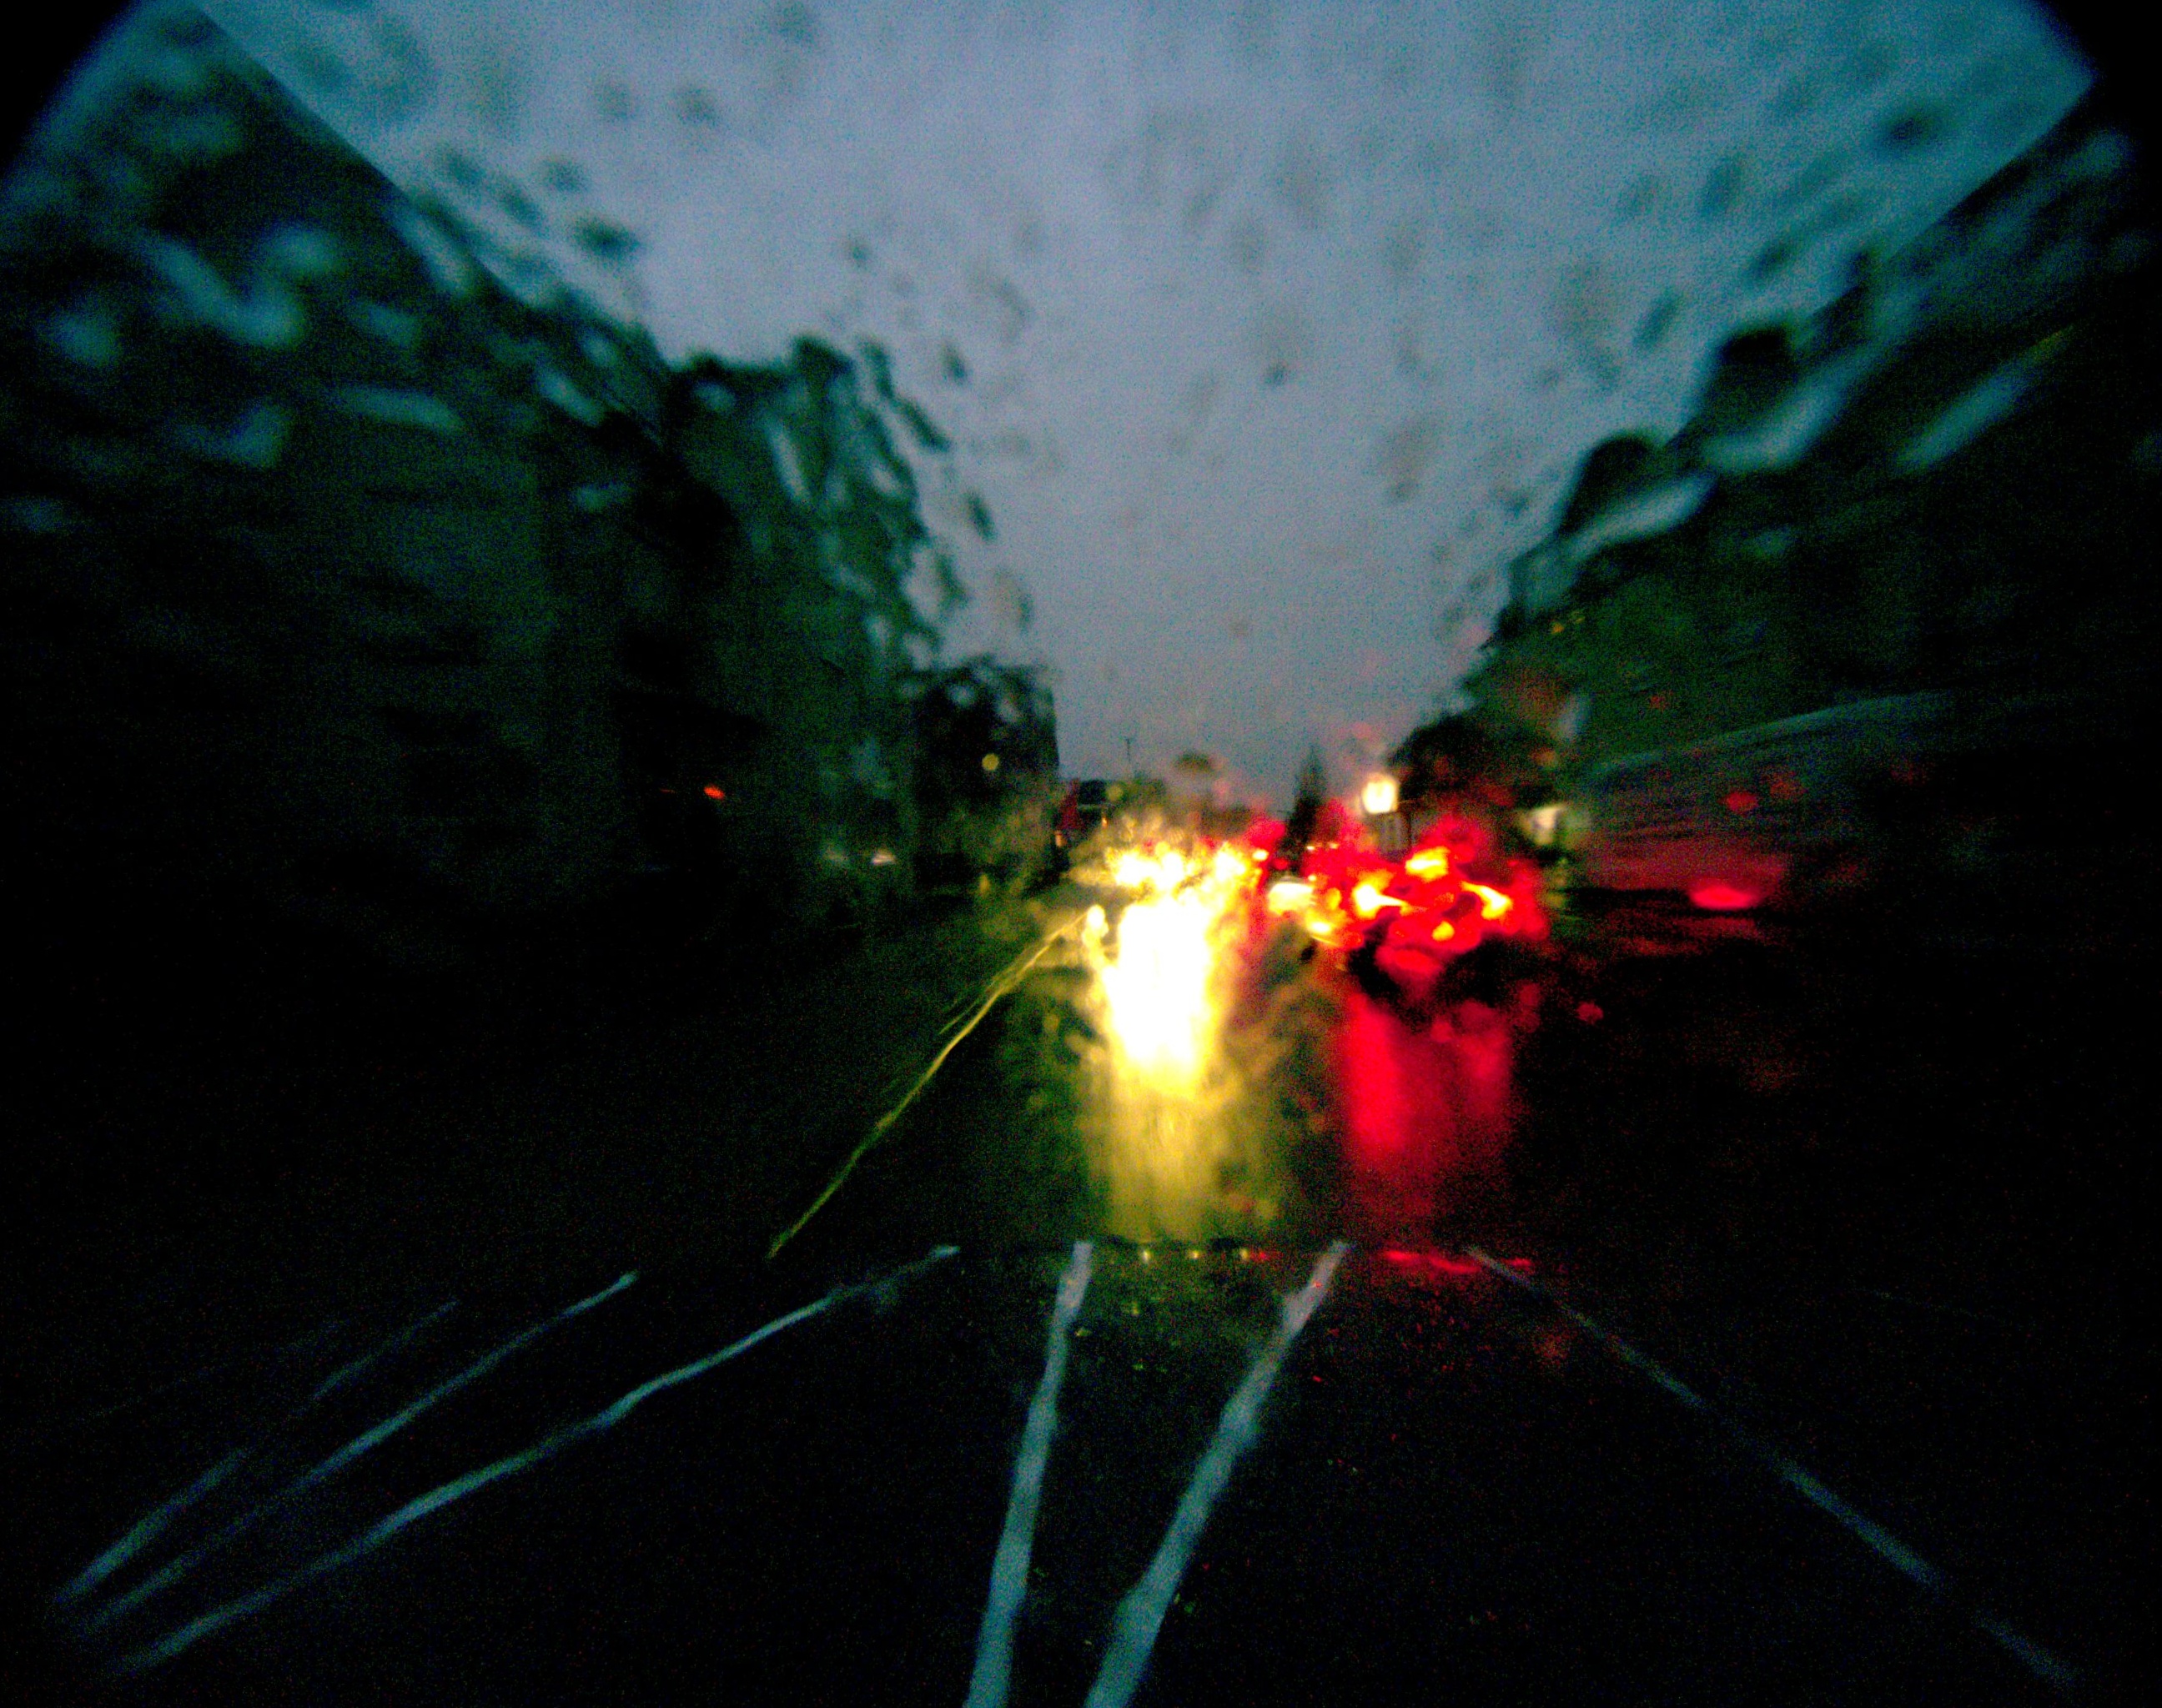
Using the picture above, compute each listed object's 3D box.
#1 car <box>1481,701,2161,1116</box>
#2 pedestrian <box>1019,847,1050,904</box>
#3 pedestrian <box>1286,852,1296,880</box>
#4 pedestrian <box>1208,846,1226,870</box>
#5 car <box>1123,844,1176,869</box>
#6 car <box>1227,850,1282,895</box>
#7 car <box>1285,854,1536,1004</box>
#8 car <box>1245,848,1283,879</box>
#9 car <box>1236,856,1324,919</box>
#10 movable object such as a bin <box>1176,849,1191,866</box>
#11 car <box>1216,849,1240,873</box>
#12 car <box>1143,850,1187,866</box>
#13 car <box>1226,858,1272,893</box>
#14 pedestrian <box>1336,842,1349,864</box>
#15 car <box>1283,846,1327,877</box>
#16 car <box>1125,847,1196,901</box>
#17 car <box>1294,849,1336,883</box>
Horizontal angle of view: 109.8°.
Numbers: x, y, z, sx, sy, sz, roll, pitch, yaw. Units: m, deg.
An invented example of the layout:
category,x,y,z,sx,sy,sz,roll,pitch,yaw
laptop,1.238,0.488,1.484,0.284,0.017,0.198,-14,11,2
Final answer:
category,x,y,z,sx,sy,sz,roll,pitch,yaw
car,6.886,0.287,8.021,2.490,2.545,6.764,-2,1,8
pedestrian,-1.399,0.649,23.116,0.746,1.719,0.873,0,0,11
pedestrian,11.708,0.681,42.343,0.529,1.576,0.577,0,0,12
pedestrian,10.360,0.297,57.815,0.944,1.865,1.010,-1,1,-33
car,5.991,0.191,66.400,4.094,2.038,2.003,2,1,23
car,6.641,0.649,28.981,1.860,1.547,4.262,1,0,14
car,4.205,0.829,10.550,1.921,1.556,4.227,1,1,5
car,10.976,0.563,45.728,1.997,1.695,4.972,-3,-1,13
car,5.524,0.857,21.568,1.997,1.547,4.260,0,0,9
movable object such as a bin,10.279,0.309,76.223,1.395,1.634,1.263,2,1,12
car,12.882,0.587,66.393,1.997,2.002,4.003,-1,0,12
car,8.240,0.404,74.158,3.991,1.478,1.915,1,2,17
car,7.932,1.032,36.204,1.955,1.537,4.421,1,-2,10
pedestrian,19.638,-0.060,57.126,0.827,1.649,1.098,-2,1,16
car,13.739,0.442,46.855,2.089,1.781,5.028,-1,0,10
car,2.860,0.630,26.556,1.997,1.720,4.003,-1,0,12
car,12.491,0.597,40.785,1.883,1.700,4.717,-1,0,14
